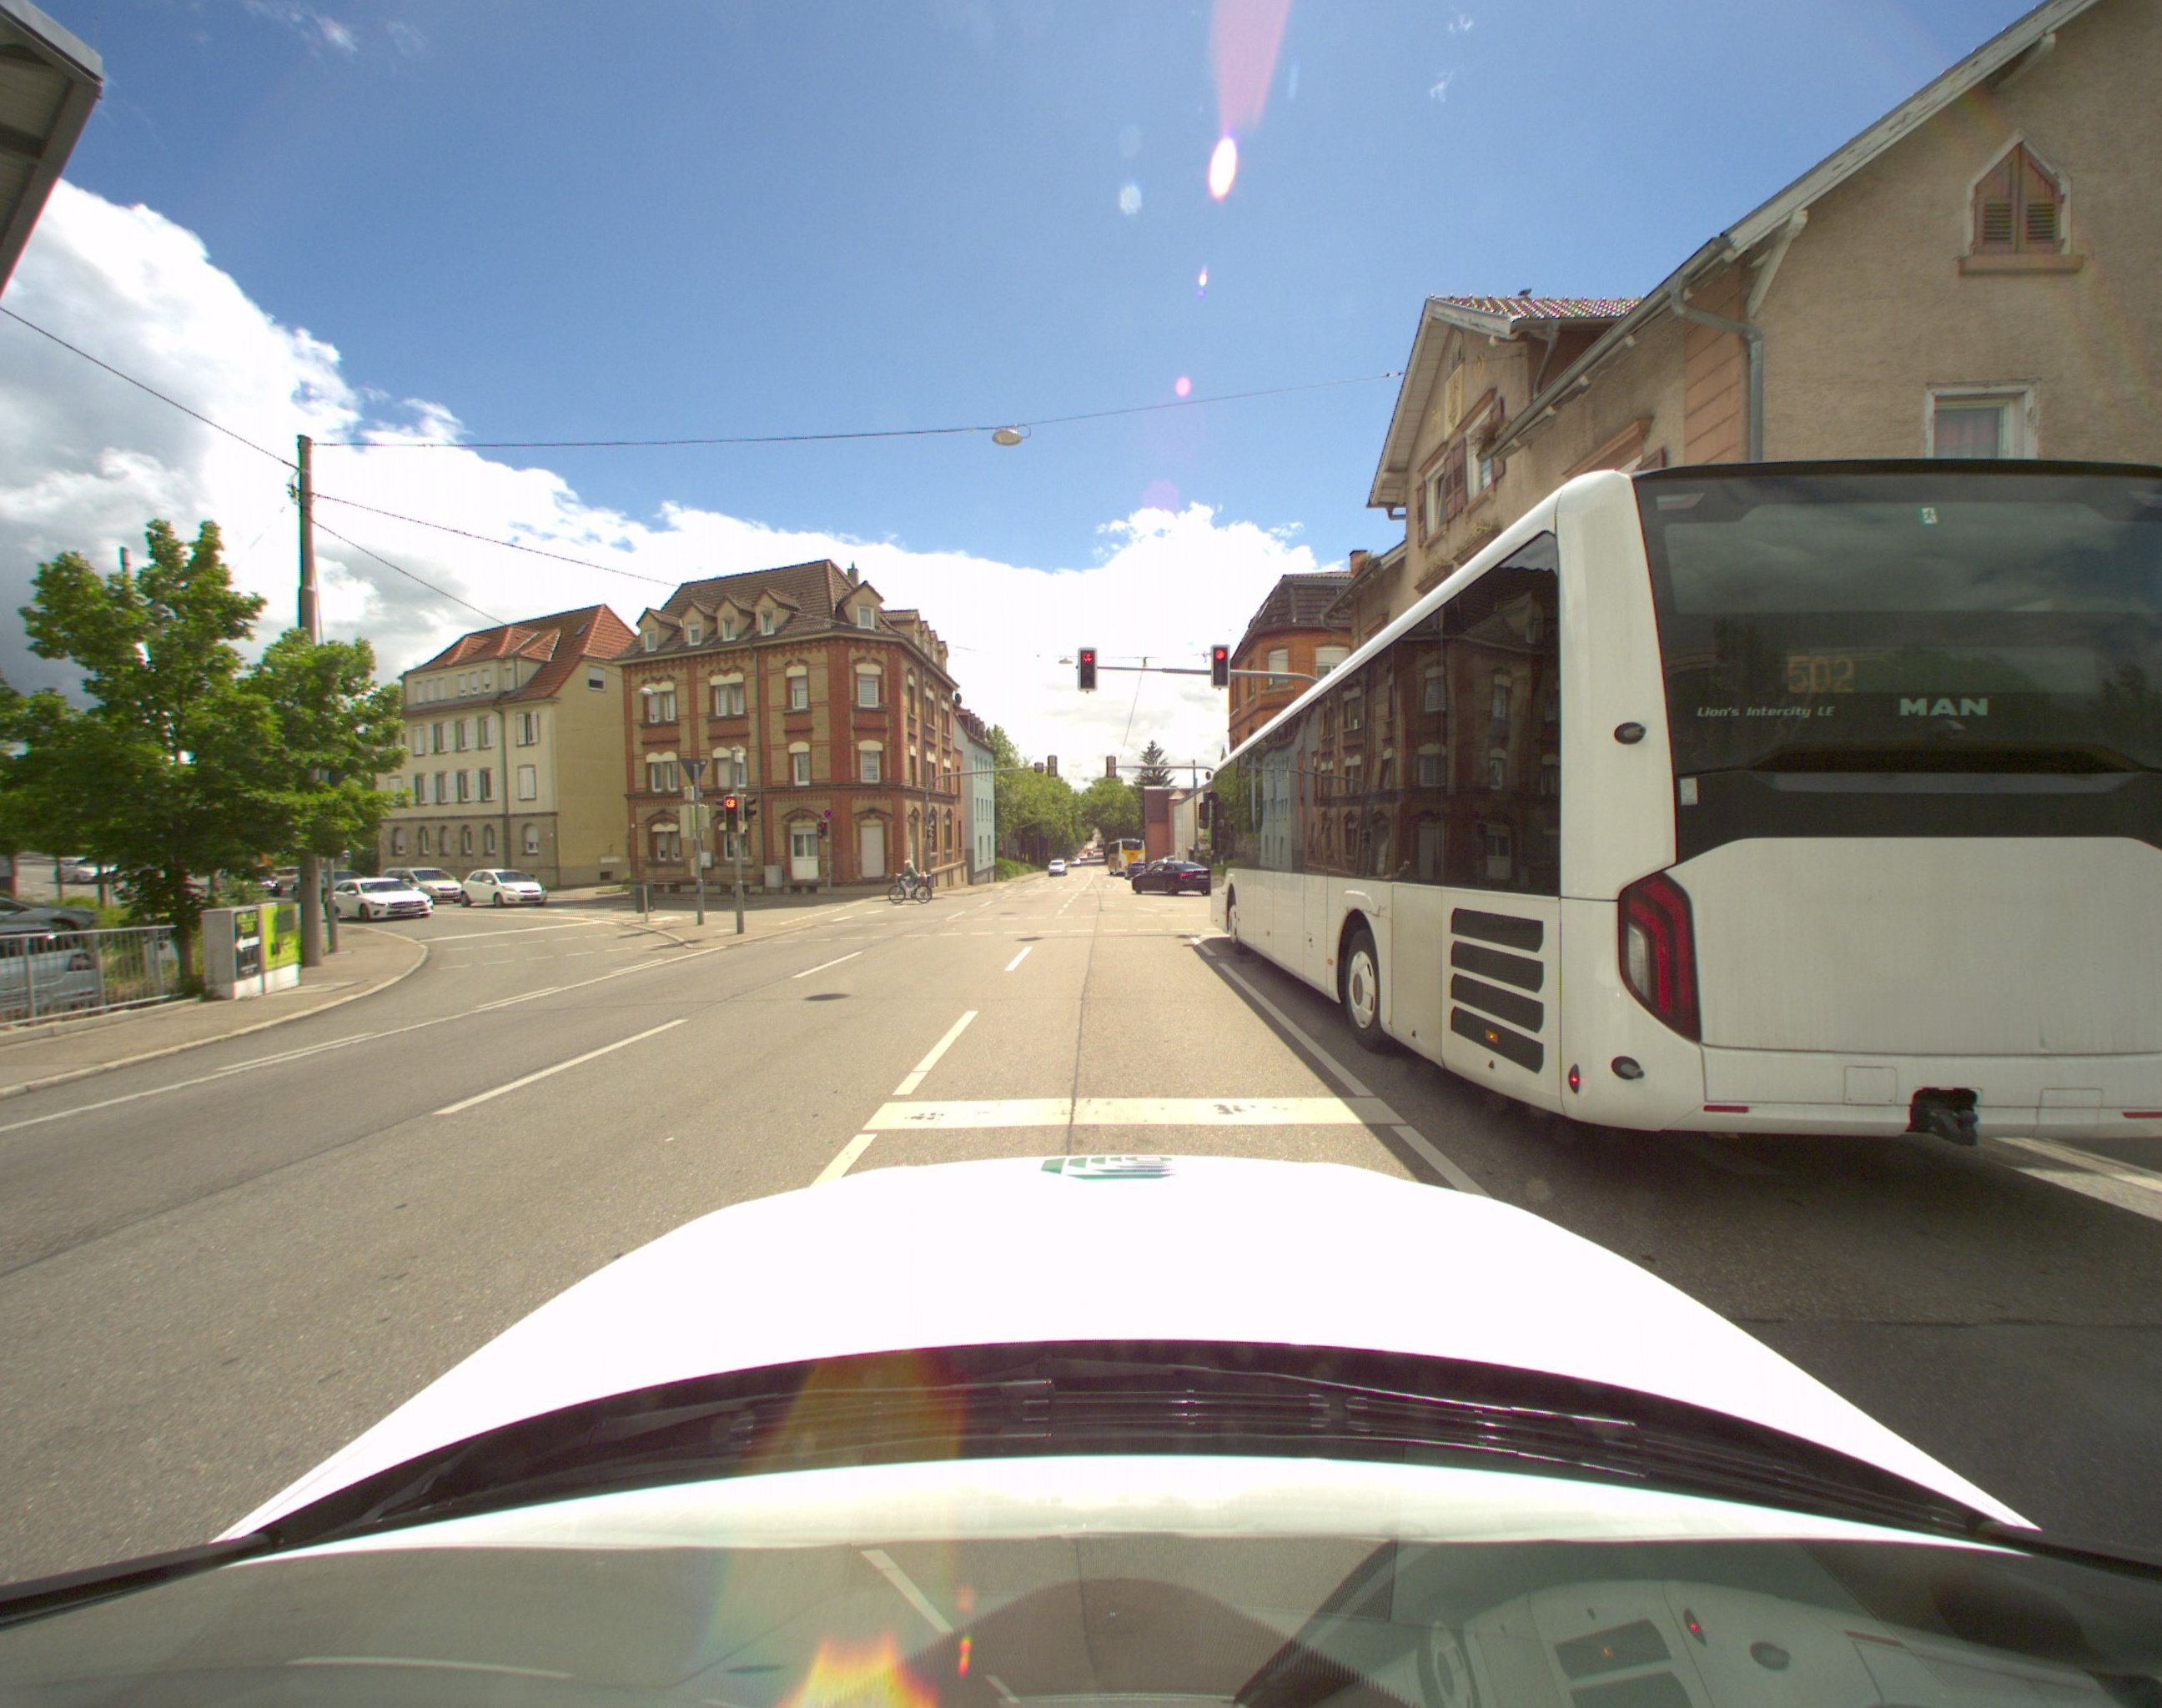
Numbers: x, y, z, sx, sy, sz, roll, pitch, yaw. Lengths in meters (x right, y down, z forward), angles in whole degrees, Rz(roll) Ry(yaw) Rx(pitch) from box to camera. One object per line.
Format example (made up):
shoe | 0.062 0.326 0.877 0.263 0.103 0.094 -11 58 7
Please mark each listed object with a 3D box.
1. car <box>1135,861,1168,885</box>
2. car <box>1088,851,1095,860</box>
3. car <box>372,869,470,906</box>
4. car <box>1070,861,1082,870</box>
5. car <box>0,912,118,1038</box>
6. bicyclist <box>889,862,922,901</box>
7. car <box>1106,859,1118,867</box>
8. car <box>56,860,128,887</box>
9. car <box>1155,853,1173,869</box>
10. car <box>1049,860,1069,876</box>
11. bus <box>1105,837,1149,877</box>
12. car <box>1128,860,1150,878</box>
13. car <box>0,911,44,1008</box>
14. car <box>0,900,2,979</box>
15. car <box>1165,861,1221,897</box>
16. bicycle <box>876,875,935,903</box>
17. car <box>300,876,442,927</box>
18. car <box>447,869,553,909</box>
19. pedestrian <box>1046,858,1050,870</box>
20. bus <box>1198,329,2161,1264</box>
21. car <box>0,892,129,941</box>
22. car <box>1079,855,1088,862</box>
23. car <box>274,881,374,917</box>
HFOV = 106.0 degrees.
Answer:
car | 4.511 1.209 52.805 1.858 1.367 4.549 -2 0 2
car | 3.400 0.459 261.486 2.133 3.070 5.628 0 -1 1
car | -29.207 1.468 36.055 3.951 1.519 1.757 -1 0 24
car | -0.784 1.946 139.027 1.858 1.367 4.549 -2 0 2
car | -16.119 1.741 12.188 3.638 1.575 1.766 -1 -2 34
bicyclist | -6.899 1.081 32.091 1.065 1.499 0.592 -2 0 10
car | 5.620 1.609 147.336 1.874 1.492 3.998 -2 0 -1
car | -60.930 1.179 50.153 4.291 1.586 2.012 -1 0 29
car | 9.519 0.775 93.263 1.760 1.665 4.002 -2 0 2
car | -2.407 1.525 89.063 1.928 1.563 4.390 -2 0 2
bus | 4.569 0.302 82.862 3.292 3.631 11.233 -2 0 -2
car | 4.669 1.178 66.073 1.602 1.376 4.002 -2 0 2
car | -19.715 1.832 14.158 3.744 1.523 1.526 -1 0 30
car | -23.406 1.735 16.438 3.371 1.575 1.526 -1 0 30
car | 4.482 0.974 33.048 1.791 1.276 4.002 -2 0 2
bicycle | -6.898 1.391 32.101 2.172 1.019 0.608 -2 0 9
car | -24.742 1.649 28.385 4.338 1.447 1.874 -2 4 22
car | -23.599 1.391 33.068 3.951 1.497 1.711 -1 0 24
pedestrian | -5.249 1.562 128.631 0.604 1.758 0.653 -2 0 0
bus | 3.507 -0.173 9.308 2.893 3.510 12.492 0 0 2
car | -29.255 1.729 22.221 1.795 1.186 4.025 -1 0 31
car | 0.601 1.121 199.818 2.199 1.613 4.549 -2 0 2
car | -35.451 2.077 38.149 3.951 1.519 2.011 -1 0 24
